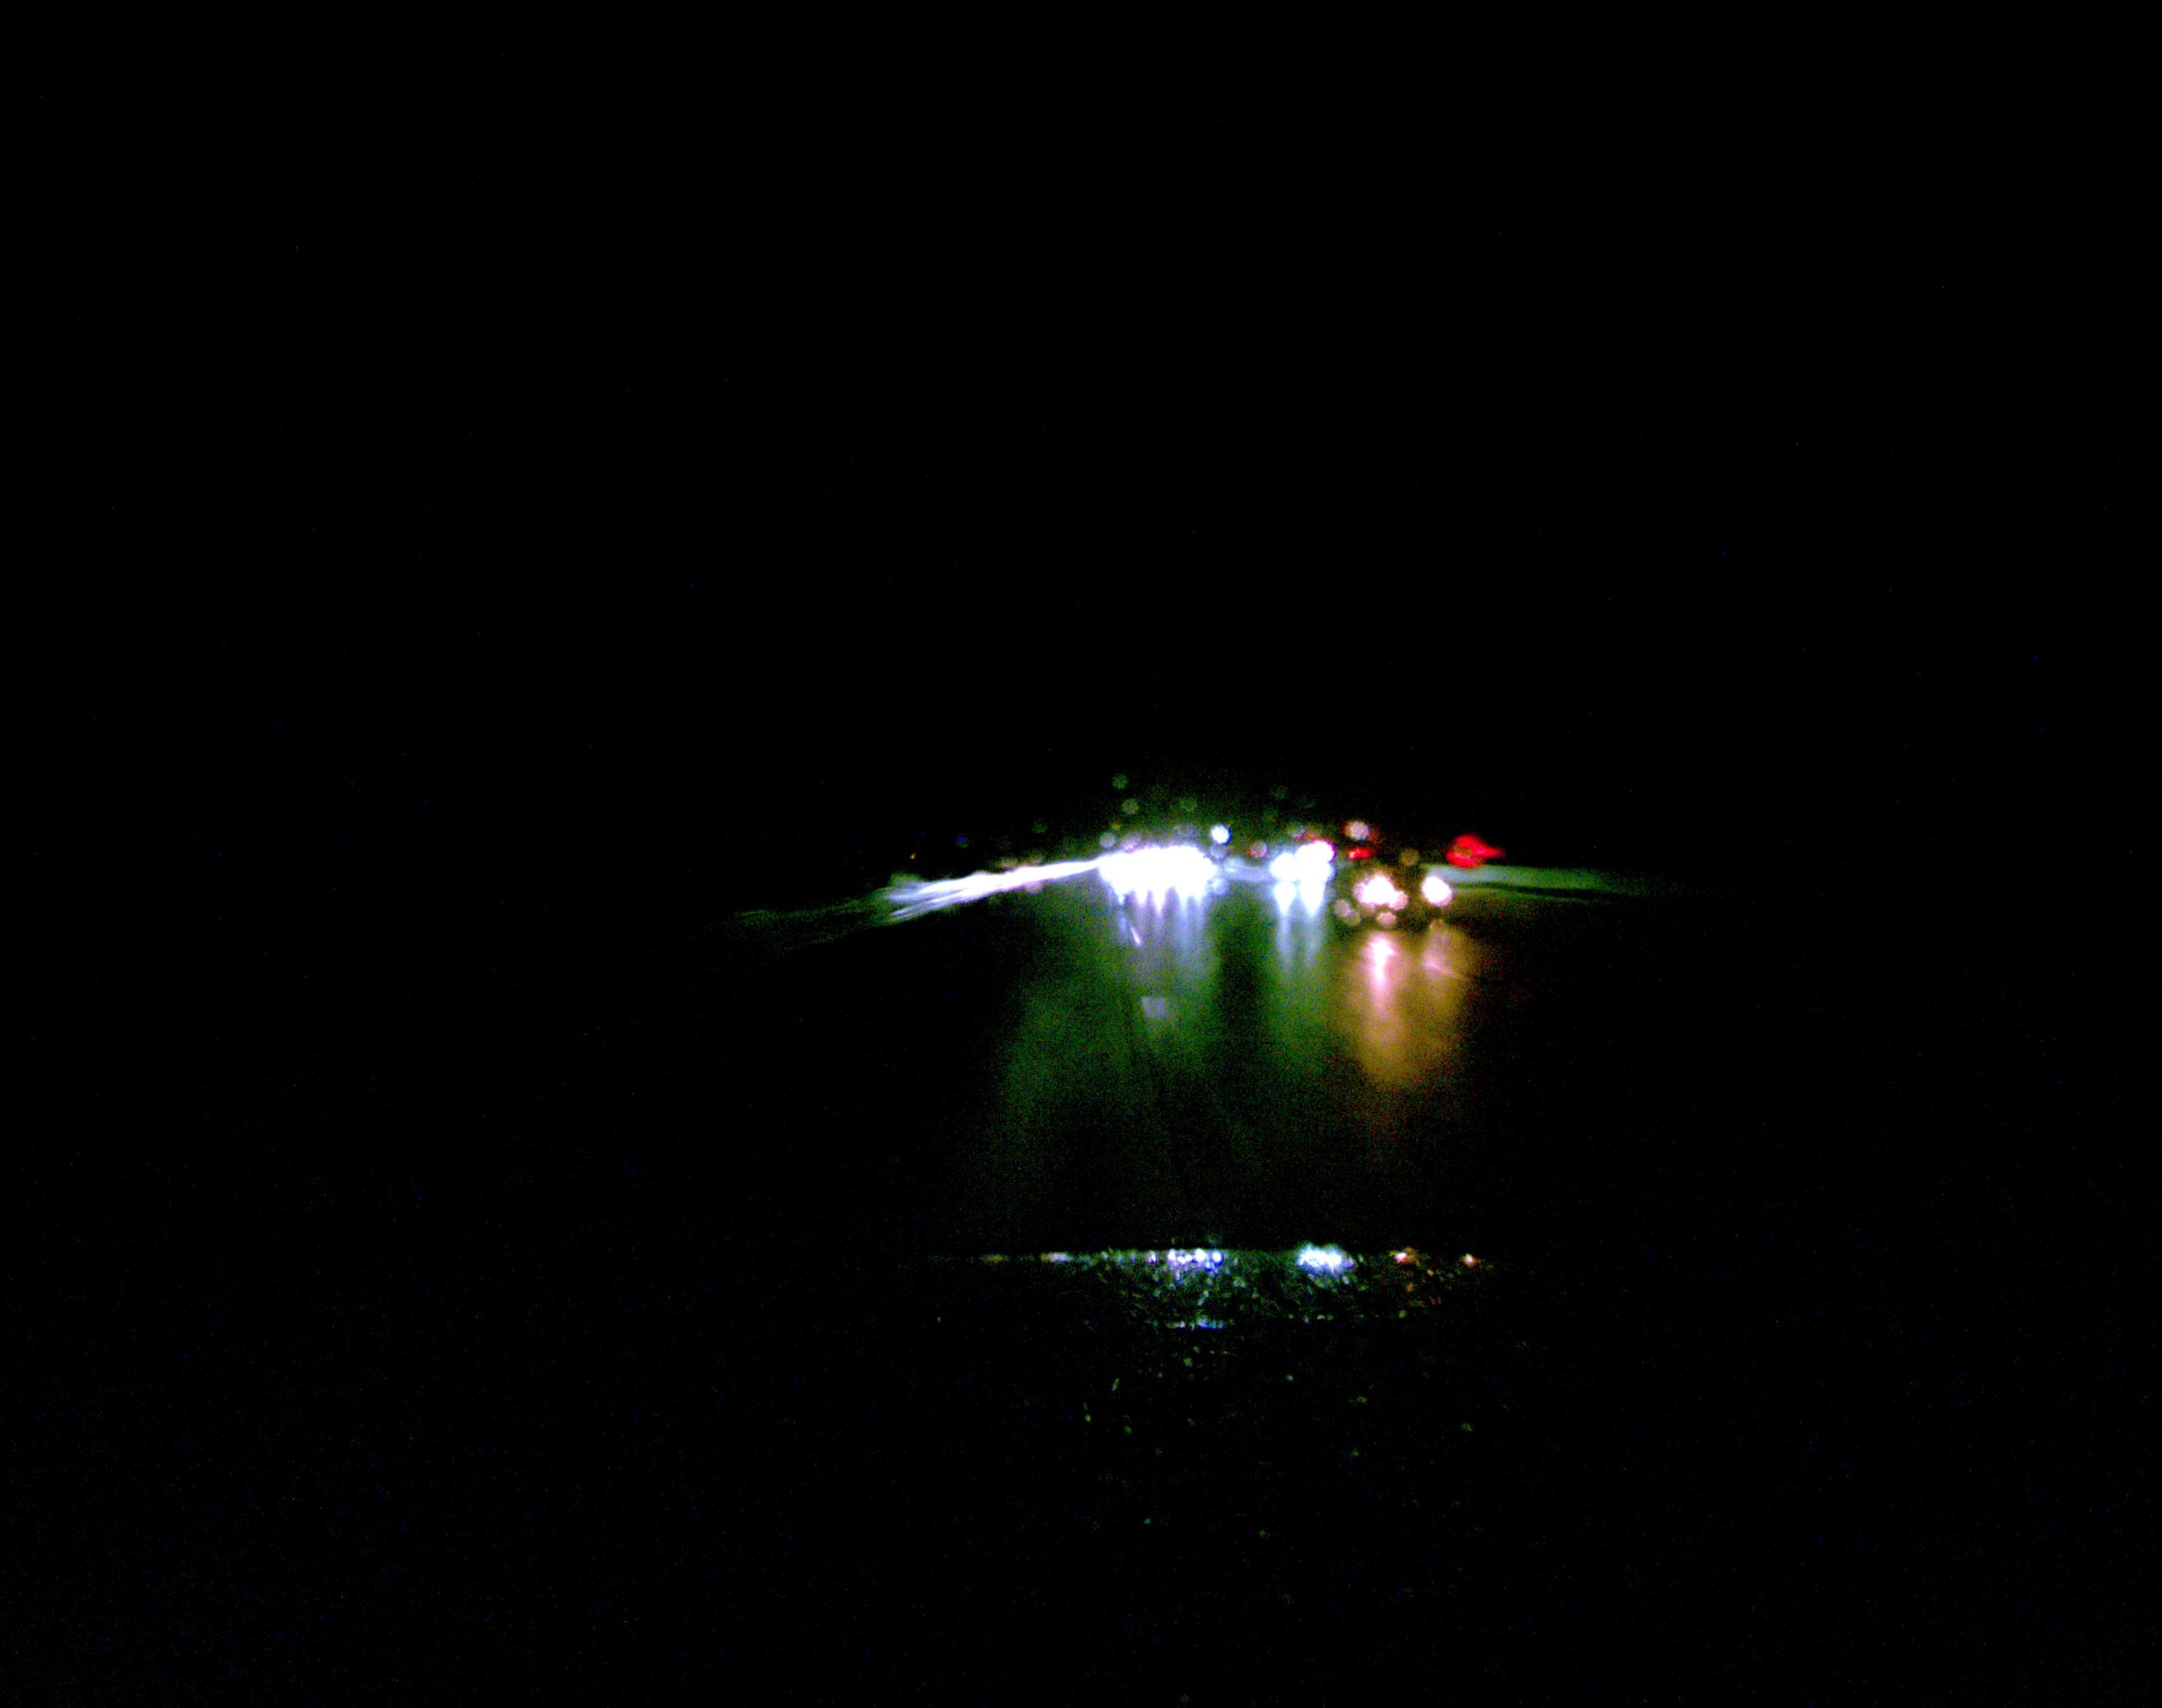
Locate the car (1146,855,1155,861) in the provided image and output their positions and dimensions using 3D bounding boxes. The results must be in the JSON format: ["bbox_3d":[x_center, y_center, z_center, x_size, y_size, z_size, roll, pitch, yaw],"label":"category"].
[{"bbox_3d":[15.040,0.890,164.228,1.998,1.149,4.001,-2,0,5],"label":"car"}]

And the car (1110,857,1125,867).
[{"bbox_3d":[5.003,1.105,105.002,1.998,1.149,4.000,-3,0,3],"label":"car"}]

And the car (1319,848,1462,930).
[{"bbox_3d":[6.962,0.697,17.605,1.920,1.585,4.235,-2,0,6],"label":"car"}]

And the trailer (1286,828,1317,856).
[{"bbox_3d":[42.710,-2.236,147.832,3.271,5.039,13.976,-2,0,6],"label":"trailer"}]

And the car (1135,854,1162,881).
[{"bbox_3d":[5.529,1.060,62.424,1.998,2.002,4.000,-3,1,3],"label":"car"}]

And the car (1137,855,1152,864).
[{"bbox_3d":[8.916,0.764,106.443,1.998,1.149,4.001,-3,0,4],"label":"car"}]

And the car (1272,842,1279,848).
[{"bbox_3d":[62.590,-2.903,244.239,1.779,1.586,4.003,-4,-1,9],"label":"car"}]

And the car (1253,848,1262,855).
[{"bbox_3d":[47.535,-0.621,204.851,1.779,1.586,4.001,-4,0,6],"label":"car"}]

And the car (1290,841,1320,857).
[{"bbox_3d":[23.903,-0.516,81.144,1.780,1.586,4.400,-4,0,0],"label":"car"}]

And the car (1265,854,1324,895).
[{"bbox_3d":[11.560,1.046,41.462,2.143,2.002,4.529,-2,0,4],"label":"car"}]

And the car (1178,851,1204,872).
[{"bbox_3d":[9.659,0.621,66.970,1.998,1.667,4.001,-2,0,6],"label":"car"}]

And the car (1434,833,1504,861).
[{"bbox_3d":[25.014,-0.429,49.243,1.998,1.586,5.021,-4,0,2],"label":"car"}]

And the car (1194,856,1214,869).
[{"bbox_3d":[16.729,1.127,103.686,2.310,1.600,3.872,-3,0,4],"label":"car"}]

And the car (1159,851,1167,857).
[{"bbox_3d":[22.783,0.080,211.970,1.998,1.379,4.001,-4,0,6],"label":"car"}]

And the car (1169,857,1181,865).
[{"bbox_3d":[15.179,1.070,122.681,1.693,1.149,3.421,-3,0,4],"label":"car"}]

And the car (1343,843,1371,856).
[{"bbox_3d":[36.827,-0.638,101.519,1.780,1.586,5.151,-4,0,0],"label":"car"}]
